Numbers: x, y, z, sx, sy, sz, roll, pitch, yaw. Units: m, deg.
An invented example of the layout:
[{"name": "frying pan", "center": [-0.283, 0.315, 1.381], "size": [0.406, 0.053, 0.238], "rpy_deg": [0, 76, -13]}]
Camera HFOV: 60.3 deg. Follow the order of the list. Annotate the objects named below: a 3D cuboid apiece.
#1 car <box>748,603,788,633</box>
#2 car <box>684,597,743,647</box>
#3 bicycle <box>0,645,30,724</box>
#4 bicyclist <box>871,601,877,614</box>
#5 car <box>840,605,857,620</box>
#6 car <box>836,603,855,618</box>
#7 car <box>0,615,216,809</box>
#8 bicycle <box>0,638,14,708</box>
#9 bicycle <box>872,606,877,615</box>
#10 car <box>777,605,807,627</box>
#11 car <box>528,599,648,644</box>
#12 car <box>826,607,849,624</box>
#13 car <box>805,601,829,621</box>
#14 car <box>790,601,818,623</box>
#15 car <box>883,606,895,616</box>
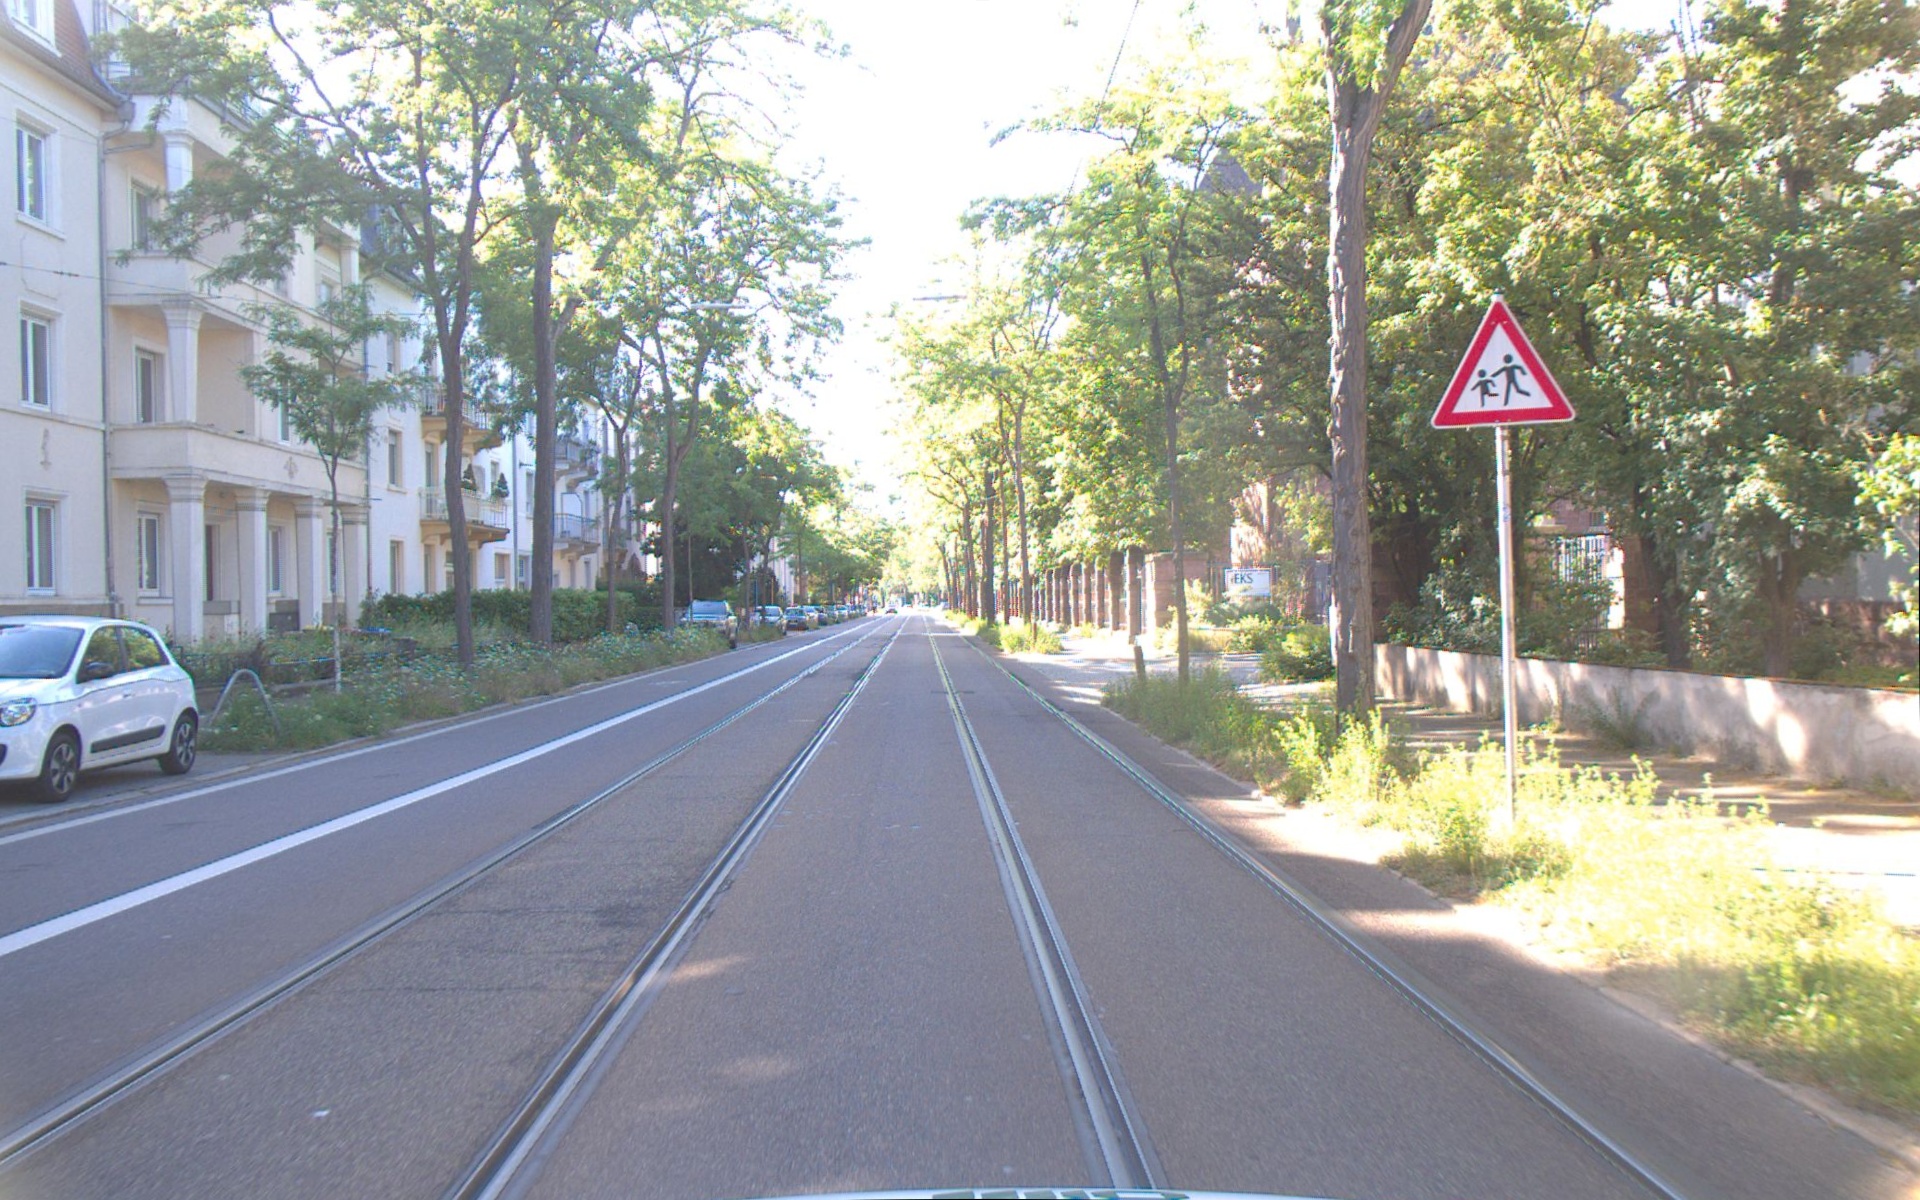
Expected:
[{"name": "car", "center": [-10.298, 0.944, 88.940], "size": [1.740, 1.568, 4.484], "rpy_deg": [0, 0, -1]}, {"name": "car", "center": [-9.362, 0.810, 63.123], "size": [1.833, 1.855, 4.768], "rpy_deg": [0, 0, -3]}, {"name": "bicycle", "center": [-13.133, 1.119, 21.470], "size": [1.837, 1.014, 0.552], "rpy_deg": [-1, 0, -31]}, {"name": "bicyclist", "center": [-11.915, 1.030, 229.324], "size": [0.613, 1.667, 0.940], "rpy_deg": [-3, 0, -2]}, {"name": "car", "center": [-11.893, 1.288, 176.307], "size": [1.653, 1.511, 3.758], "rpy_deg": [2, 0, -3]}, {"name": "car", "center": [-11.669, 1.039, 168.978], "size": [1.668, 1.511, 4.077], "rpy_deg": [2, 0, -2]}, {"name": "car", "center": [-8.457, 0.933, 15.344], "size": [1.593, 1.562, 3.687], "rpy_deg": [0, 0, -3]}, {"name": "bicycle", "center": [-14.985, 1.074, 24.862], "size": [1.823, 1.014, 0.557], "rpy_deg": [1, 1, 33]}, {"name": "bicycle", "center": [-11.897, 1.449, 229.386], "size": [0.614, 1.198, 1.912], "rpy_deg": [-3, 0, -1]}, {"name": "car", "center": [-10.902, 1.038, 107.799], "size": [1.671, 1.431, 4.331], "rpy_deg": [0, 0, -2]}, {"name": "car", "center": [-14.456, 0.819, 64.495], "size": [4.212, 1.690, 1.952], "rpy_deg": [1, 0, 0]}, {"name": "car", "center": [-10.588, 1.329, 143.027], "size": [1.780, 1.511, 4.205], "rpy_deg": [0, 0, -2]}, {"name": "car", "center": [-11.191, 0.860, 129.805], "size": [1.722, 1.537, 4.436], "rpy_deg": [0, 0, -3]}, {"name": "car", "center": [-11.259, 0.839, 119.636], "size": [1.781, 1.537, 4.369], "rpy_deg": [0, 0, -3]}, {"name": "car", "center": [-10.599, 1.617, 247.532], "size": [1.722, 1.464, 4.521], "rpy_deg": [-1, 0, -3]}]
